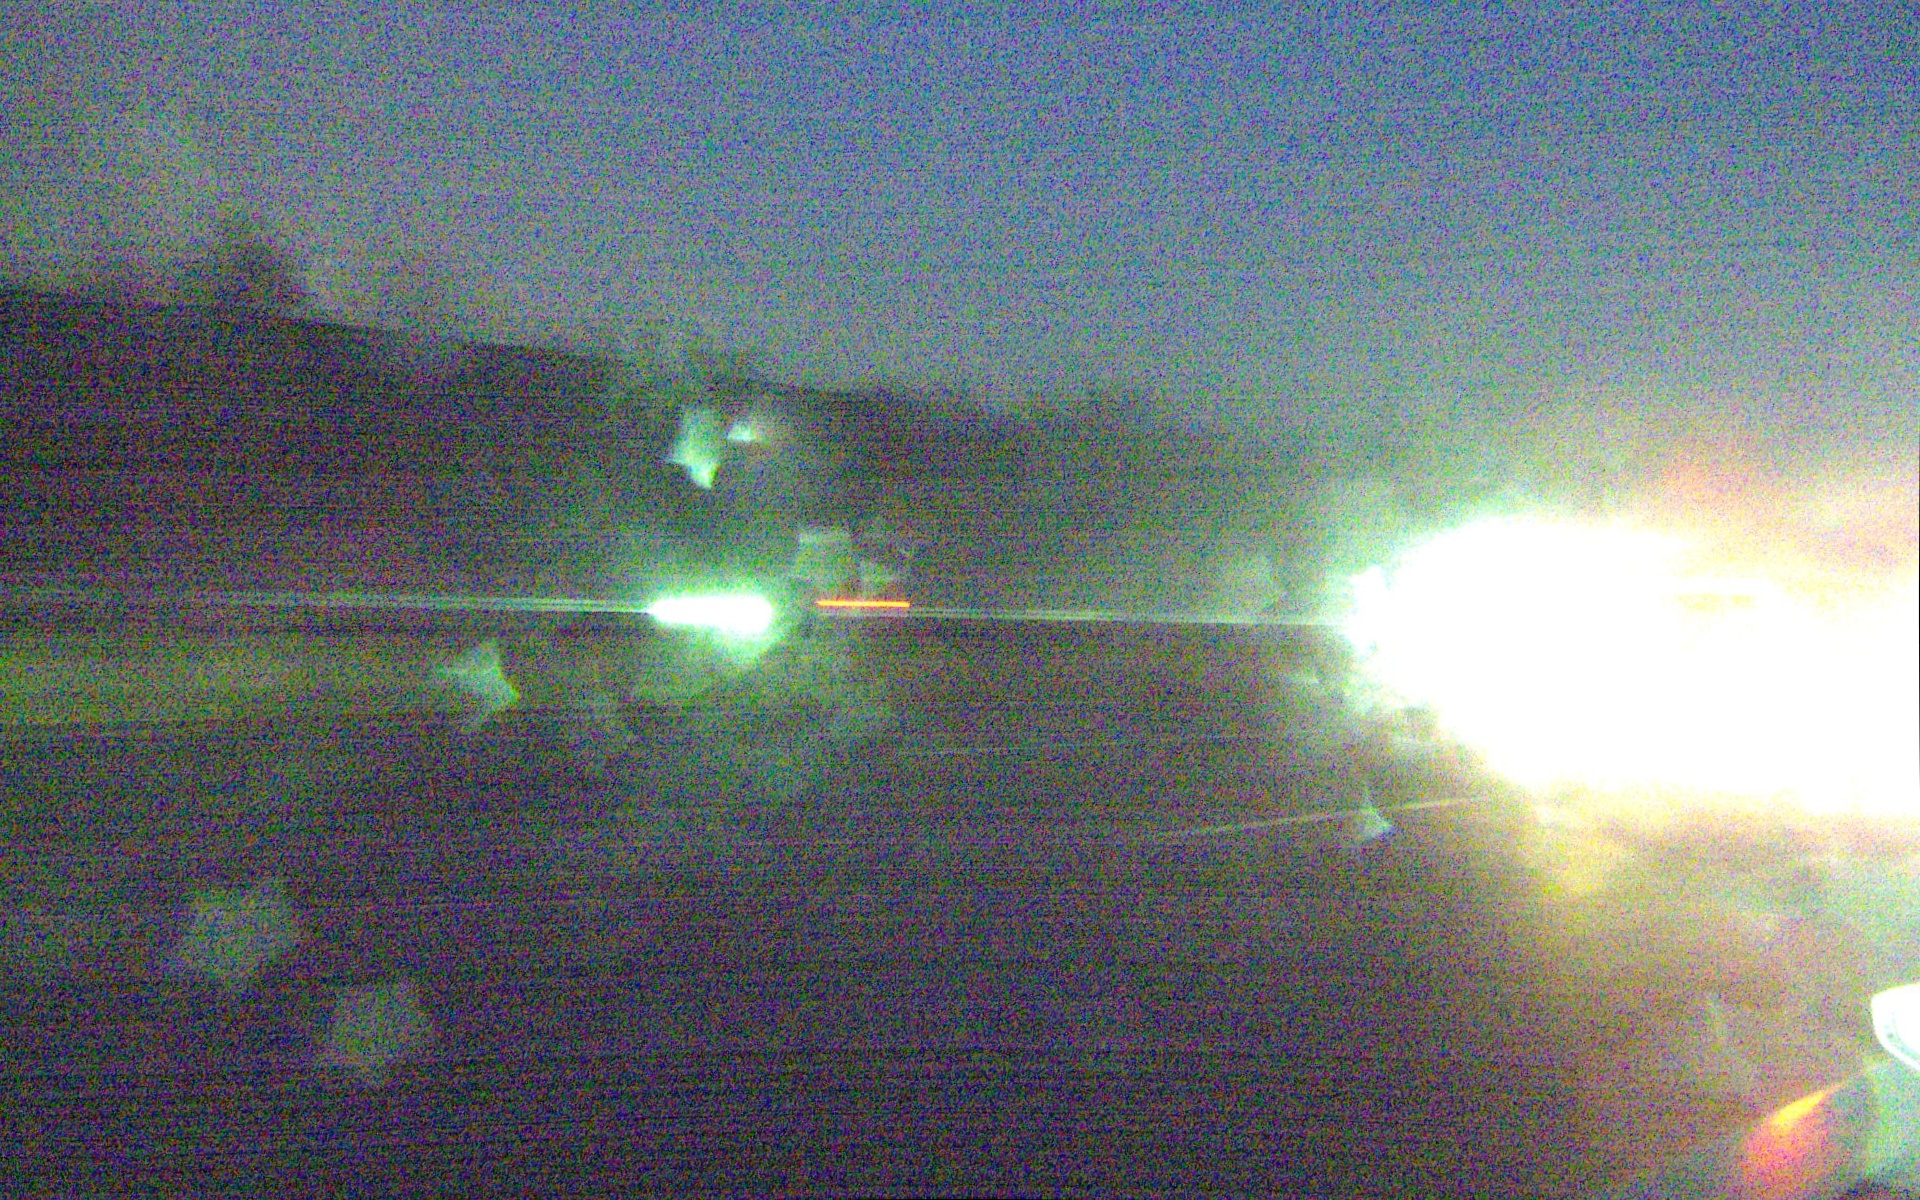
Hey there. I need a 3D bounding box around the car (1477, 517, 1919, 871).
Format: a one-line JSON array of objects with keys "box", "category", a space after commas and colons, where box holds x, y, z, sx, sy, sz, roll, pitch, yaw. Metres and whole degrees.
[{"box": [6.529, 0.618, 7.867, 4.956, 2.040, 1.985, 2, -1, -29], "category": "car"}]

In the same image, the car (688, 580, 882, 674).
[{"box": [-4.278, 0.668, 24.558, 4.225, 2.041, 1.985, 2, 3, -28], "category": "car"}]
